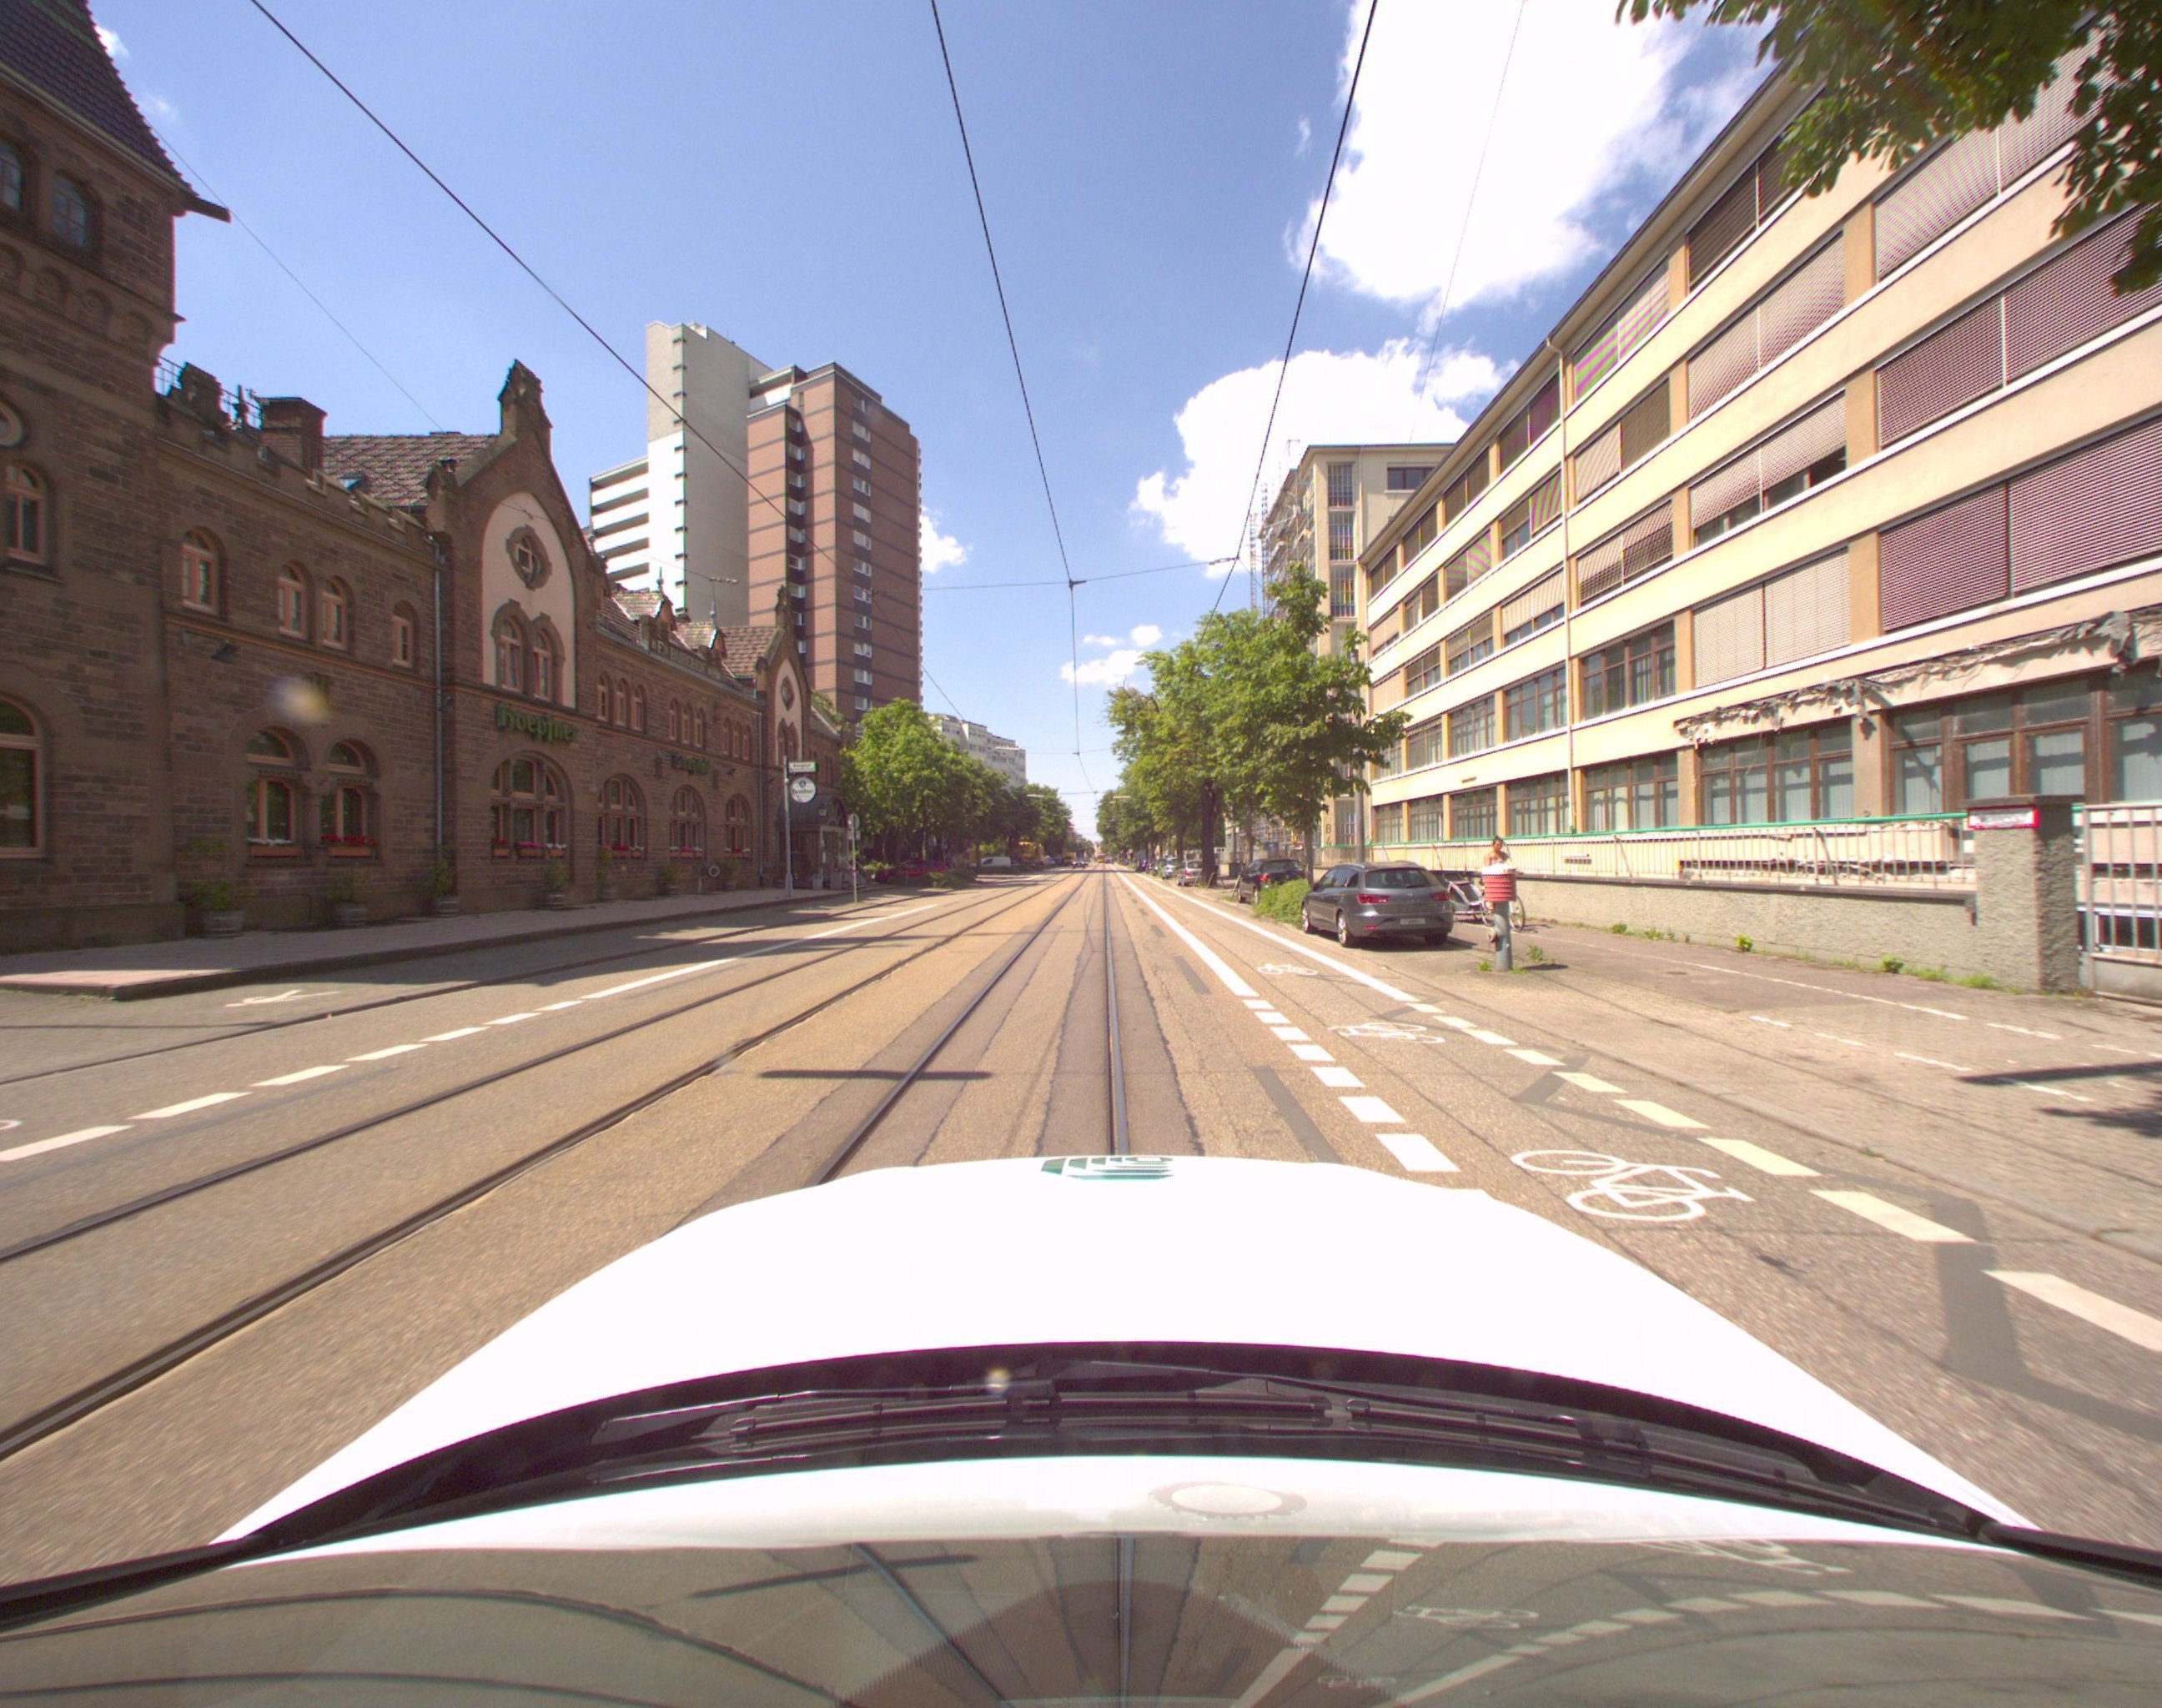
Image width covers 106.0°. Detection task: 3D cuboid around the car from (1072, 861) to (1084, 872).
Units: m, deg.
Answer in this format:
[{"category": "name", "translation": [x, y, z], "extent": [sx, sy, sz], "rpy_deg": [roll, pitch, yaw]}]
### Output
[{"category": "car", "translation": [-0.484, 1.964, 129.563], "extent": [1.824, 1.681, 4.186], "rpy_deg": [-1, 0, 2]}]

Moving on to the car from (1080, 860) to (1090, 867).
[{"category": "car", "translation": [0.867, 1.900, 170.645], "extent": [1.767, 1.397, 4.289], "rpy_deg": [-2, 0, 2]}]

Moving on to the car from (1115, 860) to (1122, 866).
[{"category": "car", "translation": [10.708, 2.523, 231.863], "extent": [1.704, 1.423, 4.310], "rpy_deg": [-2, -1, 1]}]

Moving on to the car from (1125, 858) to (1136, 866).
[{"category": "car", "translation": [9.261, 1.558, 153.212], "extent": [1.634, 1.485, 3.870], "rpy_deg": [-2, -1, -2]}]

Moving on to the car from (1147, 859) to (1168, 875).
[{"category": "car", "translation": [7.331, 1.232, 78.177], "extent": [1.817, 1.471, 4.489], "rpy_deg": [-1, 0, 3]}]

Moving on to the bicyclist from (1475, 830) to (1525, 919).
[{"category": "bicyclist", "translation": [8.034, 0.387, 15.643], "extent": [0.578, 1.648, 0.599], "rpy_deg": [-3, -1, 1]}]

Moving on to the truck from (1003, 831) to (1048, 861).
[{"category": "truck", "translation": [-7.590, -1.017, 113.147], "extent": [2.695, 3.842, 11.008], "rpy_deg": [0, -1, 16]}]

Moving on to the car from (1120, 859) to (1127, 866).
[{"category": "car", "translation": [10.195, 2.061, 194.243], "extent": [1.586, 1.617, 3.908], "rpy_deg": [-2, -1, 1]}]

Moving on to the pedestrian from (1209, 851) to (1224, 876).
[{"category": "pedestrian", "translation": [8.705, 0.601, 52.300], "extent": [0.797, 1.589, 0.919], "rpy_deg": [-3, -1, 0]}]

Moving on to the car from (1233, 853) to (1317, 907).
[{"category": "car", "translation": [5.896, 0.746, 25.153], "extent": [1.665, 1.489, 3.981], "rpy_deg": [-1, 0, 1]}]

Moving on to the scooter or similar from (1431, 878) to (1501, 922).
[{"category": "scooter or similar", "translation": [8.108, 0.955, 17.231], "extent": [0.759, 0.807, 1.556], "rpy_deg": [-3, -1, 2]}]

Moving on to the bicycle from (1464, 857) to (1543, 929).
[{"category": "bicycle", "translation": [8.042, 0.702, 15.585], "extent": [0.552, 1.265, 1.774], "rpy_deg": [-4, -1, 2]}]

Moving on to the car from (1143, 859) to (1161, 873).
[{"category": "car", "translation": [7.730, 1.321, 89.090], "extent": [1.816, 1.471, 4.405], "rpy_deg": [-1, 0, 4]}]

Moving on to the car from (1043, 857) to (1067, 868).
[{"category": "car", "translation": [-5.394, 1.805, 168.924], "extent": [4.785, 2.062, 2.003], "rpy_deg": [-2, -1, -38]}]

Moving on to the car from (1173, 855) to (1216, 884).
[{"category": "car", "translation": [6.306, 0.860, 45.579], "extent": [1.667, 1.499, 4.363], "rpy_deg": [-1, 0, -1]}]

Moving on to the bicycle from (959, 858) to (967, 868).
[{"category": "bicycle", "translation": [-12.748, 0.967, 88.056], "extent": [0.516, 1.047, 1.875], "rpy_deg": [0, 0, 0]}]

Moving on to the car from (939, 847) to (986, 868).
[{"category": "car", "translation": [-15.261, 0.454, 105.216], "extent": [2.157, 2.566, 6.765], "rpy_deg": [-1, -2, 31]}]

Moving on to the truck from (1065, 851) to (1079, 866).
[{"category": "truck", "translation": [-1.865, 0.930, 169.268], "extent": [2.350, 2.852, 7.384], "rpy_deg": [-2, -1, 3]}]

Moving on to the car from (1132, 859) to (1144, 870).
[{"category": "car", "translation": [8.353, 1.584, 119.363], "extent": [1.637, 1.534, 3.788], "rpy_deg": [-1, 0, 3]}]

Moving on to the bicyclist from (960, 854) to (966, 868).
[{"category": "bicyclist", "translation": [-12.743, 0.721, 88.056], "extent": [0.479, 1.481, 0.780], "rpy_deg": [0, -1, 0]}]

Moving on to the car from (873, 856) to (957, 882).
[{"category": "car", "translation": [-10.406, 0.910, 51.149], "extent": [4.791, 1.566, 1.984], "rpy_deg": [0, -1, -27]}]

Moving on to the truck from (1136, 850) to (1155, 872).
[{"category": "truck", "translation": [7.850, 0.853, 99.673], "extent": [2.007, 2.489, 5.957], "rpy_deg": [-1, 0, 1]}]

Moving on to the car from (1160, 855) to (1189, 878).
[{"category": "car", "translation": [6.691, 0.885, 58.500], "extent": [1.665, 1.517, 4.201], "rpy_deg": [-1, 0, 1]}]

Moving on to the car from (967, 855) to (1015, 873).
[{"category": "car", "translation": [-9.253, 1.051, 83.619], "extent": [4.563, 1.791, 1.882], "rpy_deg": [0, -1, -31]}]

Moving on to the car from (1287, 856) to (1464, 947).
[{"category": "car", "translation": [5.289, 0.775, 15.347], "extent": [1.665, 1.408, 4.749], "rpy_deg": [-1, 0, 1]}]

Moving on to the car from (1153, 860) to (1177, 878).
[{"category": "car", "translation": [6.983, 1.207, 68.116], "extent": [1.665, 1.438, 4.042], "rpy_deg": [-1, 0, 1]}]
